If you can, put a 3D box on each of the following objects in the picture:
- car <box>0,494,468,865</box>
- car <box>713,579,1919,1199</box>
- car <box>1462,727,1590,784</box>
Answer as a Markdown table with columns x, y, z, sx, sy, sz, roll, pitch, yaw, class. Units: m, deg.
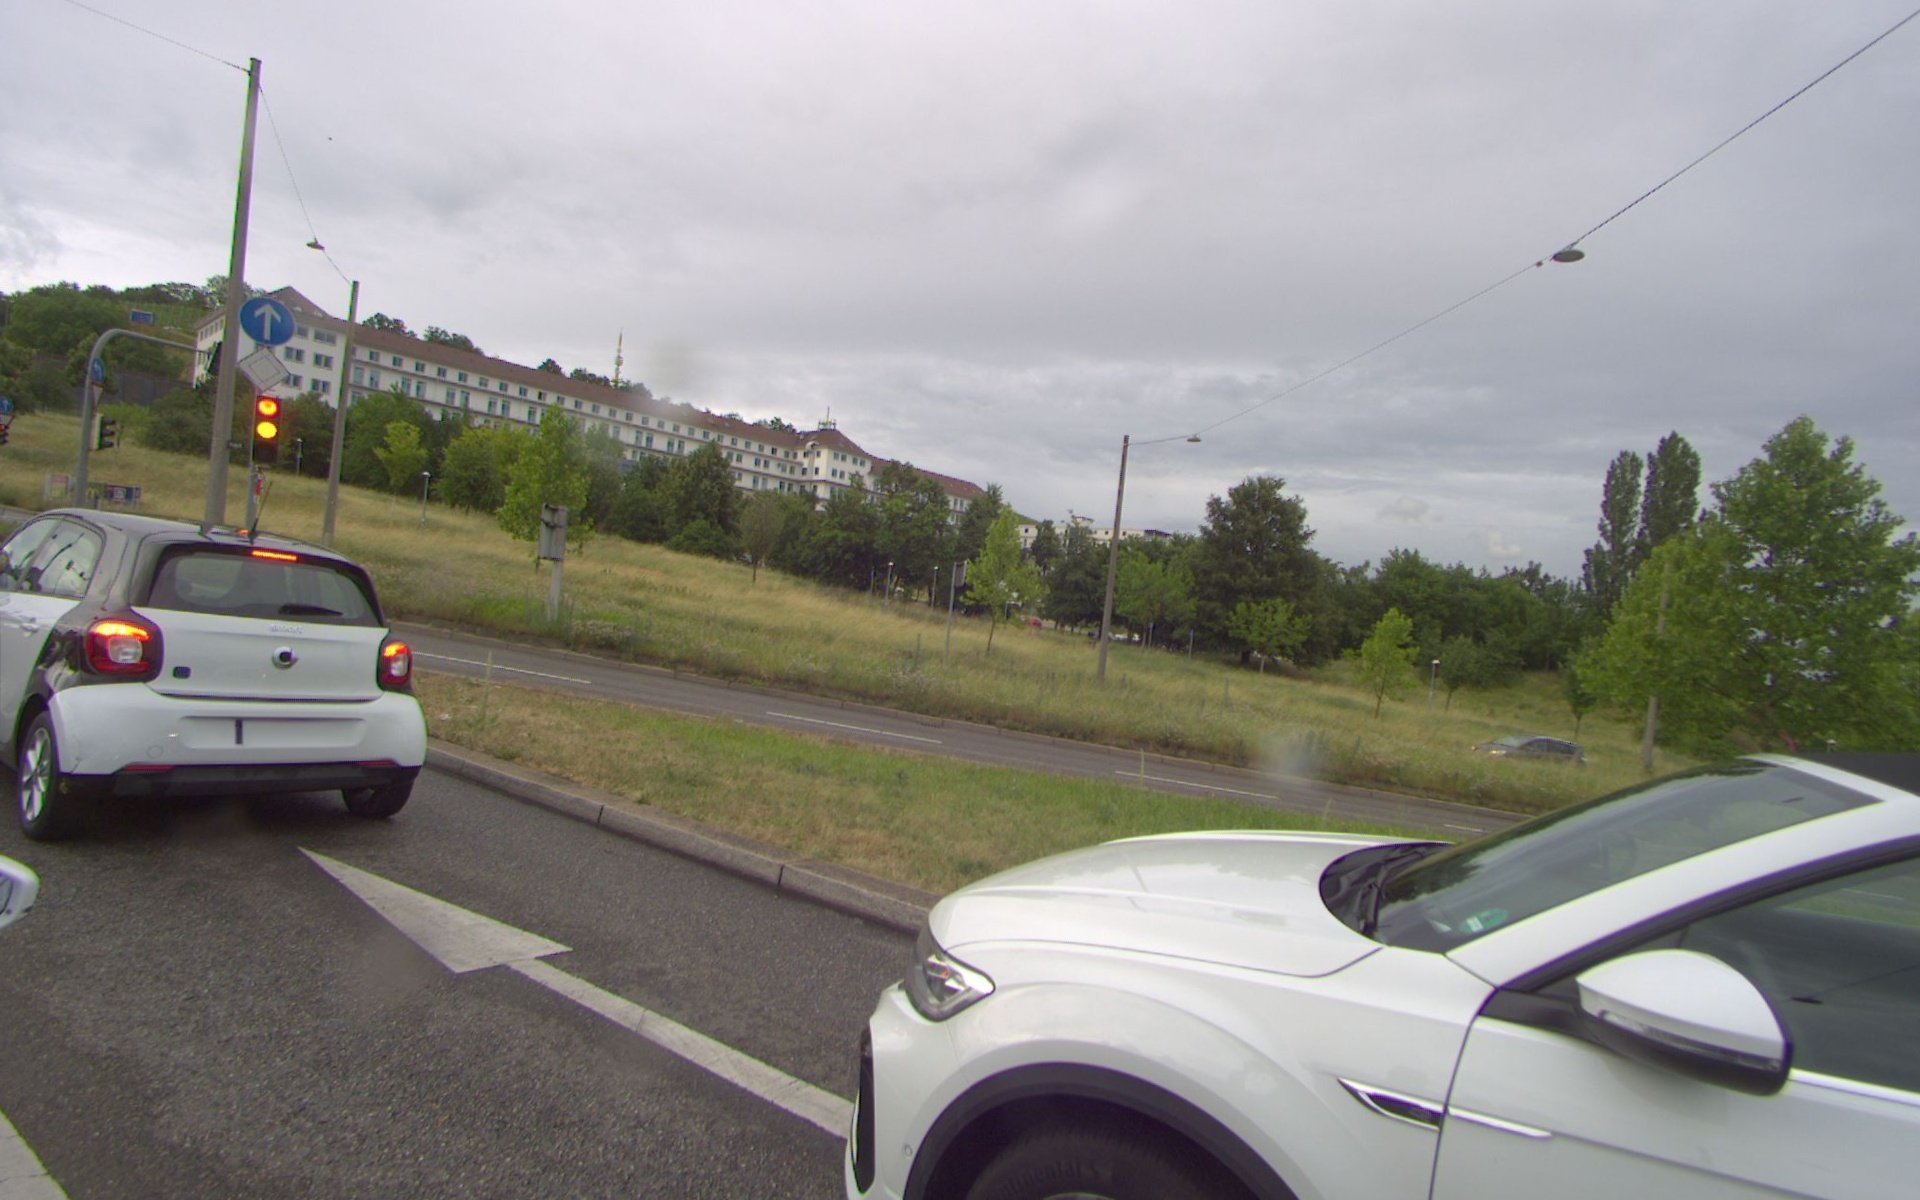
| x | y | z | sx | sy | sz | roll | pitch | yaw | class |
| --- | --- | --- | --- | --- | --- | --- | --- | --- | --- |
| -4.632 | 0.293 | 5.828 | 3.397 | 1.520 | 1.659 | 6 | -2 | 36 | car |
| 1.761 | 1.005 | 1.785 | 4.157 | 1.571 | 1.717 | 6 | -2 | 29 | car |
| 21.907 | 5.999 | 39.004 | 3.896 | 1.554 | 1.997 | 8 | -2 | -12 | car |
